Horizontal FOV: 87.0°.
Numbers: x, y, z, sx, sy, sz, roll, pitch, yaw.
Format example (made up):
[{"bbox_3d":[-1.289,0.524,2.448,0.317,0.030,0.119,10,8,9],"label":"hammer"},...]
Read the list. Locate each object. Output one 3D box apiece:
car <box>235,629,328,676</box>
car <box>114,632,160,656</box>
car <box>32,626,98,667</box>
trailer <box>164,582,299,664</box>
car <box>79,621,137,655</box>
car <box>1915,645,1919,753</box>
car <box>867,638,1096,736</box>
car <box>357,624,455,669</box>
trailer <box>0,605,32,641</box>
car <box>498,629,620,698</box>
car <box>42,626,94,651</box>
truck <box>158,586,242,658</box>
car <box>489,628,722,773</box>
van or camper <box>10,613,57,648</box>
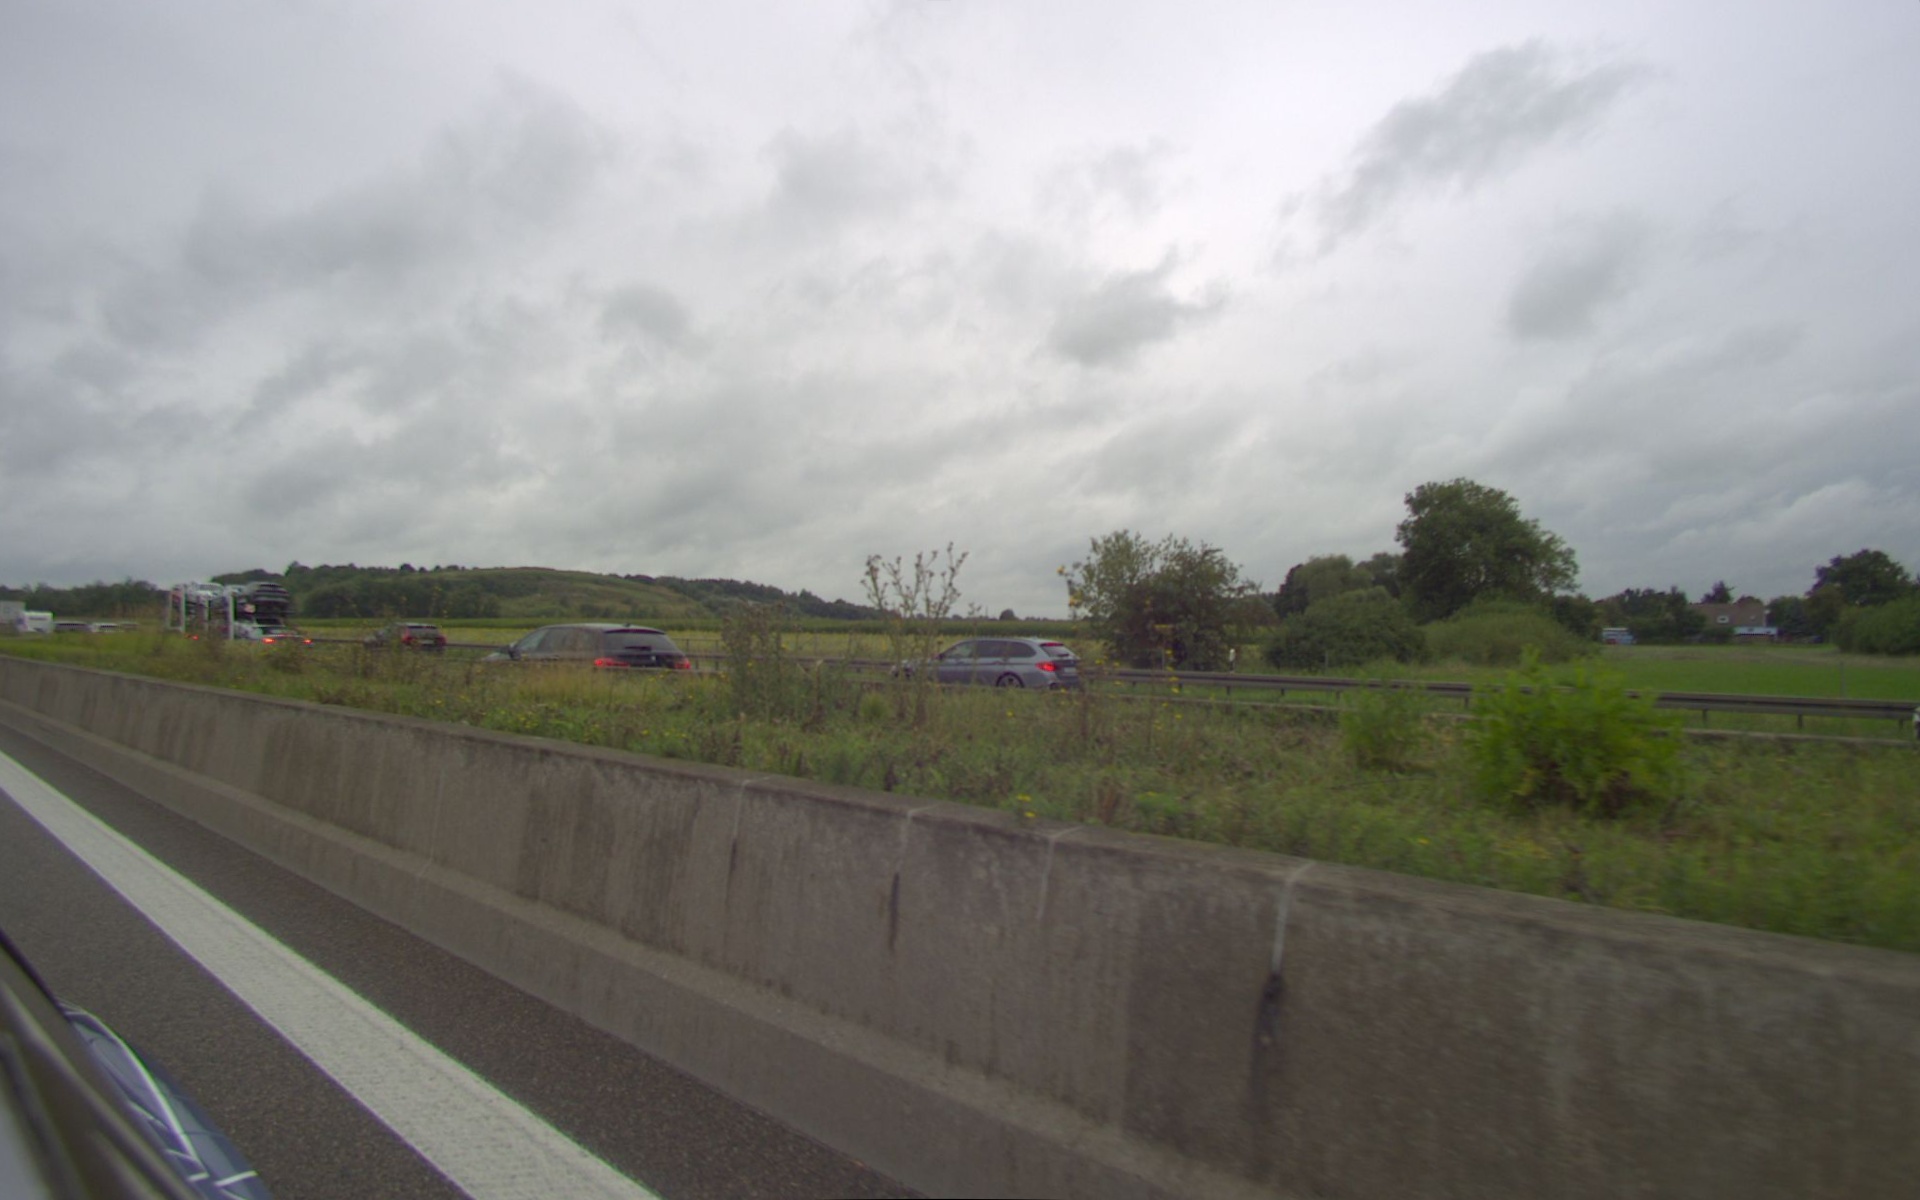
[{"bbox_3d":[-27.742,2.087,41.312,4.798,1.723,2.071,-1,-1,42],"label":"car"},{"bbox_3d":[-63.935,3.380,78.604,4.798,1.723,2.071,-1,-1,42],"label":"car"},{"bbox_3d":[-41.835,2.142,47.282,3.998,1.830,1.795,-1,-3,41],"label":"car"},{"bbox_3d":[-42.893,1.240,59.222,15.701,4.273,2.967,0,0,41],"label":"trailer"},{"bbox_3d":[-52.010,2.307,61.760,5.029,1.893,1.973,0,0,41],"label":"car"},{"bbox_3d":[15.217,1.384,12.800,4.410,1.565,1.695,-1,-3,40],"label":"car"},{"bbox_3d":[0.398,1.903,23.404,5.253,1.985,1.802,-1,-3,38],"label":"car"},{"bbox_3d":[-22.931,1.851,41.802,4.960,1.723,2.071,-1,-1,42],"label":"car"},{"bbox_3d":[-121.899,2.900,128.913,15.617,4.303,3.674,0,0,41],"label":"trailer"},{"bbox_3d":[-12.751,1.962,32.124,3.998,2.029,1.973,-1,-3,41],"label":"car"},{"bbox_3d":[-65.171,2.787,73.910,5.161,1.723,2.072,-1,-1,40],"label":"car"},{"bbox_3d":[-47.804,1.307,63.575,6.231,4.273,2.926,0,0,41],"label":"truck"},{"bbox_3d":[-5.763,1.481,16.259,3.998,2.029,1.767,-1,-3,41],"label":"car"},{"bbox_3d":[-101.120,3.261,110.386,7.691,3.529,2.682,0,0,39],"label":"van or camper"}]
